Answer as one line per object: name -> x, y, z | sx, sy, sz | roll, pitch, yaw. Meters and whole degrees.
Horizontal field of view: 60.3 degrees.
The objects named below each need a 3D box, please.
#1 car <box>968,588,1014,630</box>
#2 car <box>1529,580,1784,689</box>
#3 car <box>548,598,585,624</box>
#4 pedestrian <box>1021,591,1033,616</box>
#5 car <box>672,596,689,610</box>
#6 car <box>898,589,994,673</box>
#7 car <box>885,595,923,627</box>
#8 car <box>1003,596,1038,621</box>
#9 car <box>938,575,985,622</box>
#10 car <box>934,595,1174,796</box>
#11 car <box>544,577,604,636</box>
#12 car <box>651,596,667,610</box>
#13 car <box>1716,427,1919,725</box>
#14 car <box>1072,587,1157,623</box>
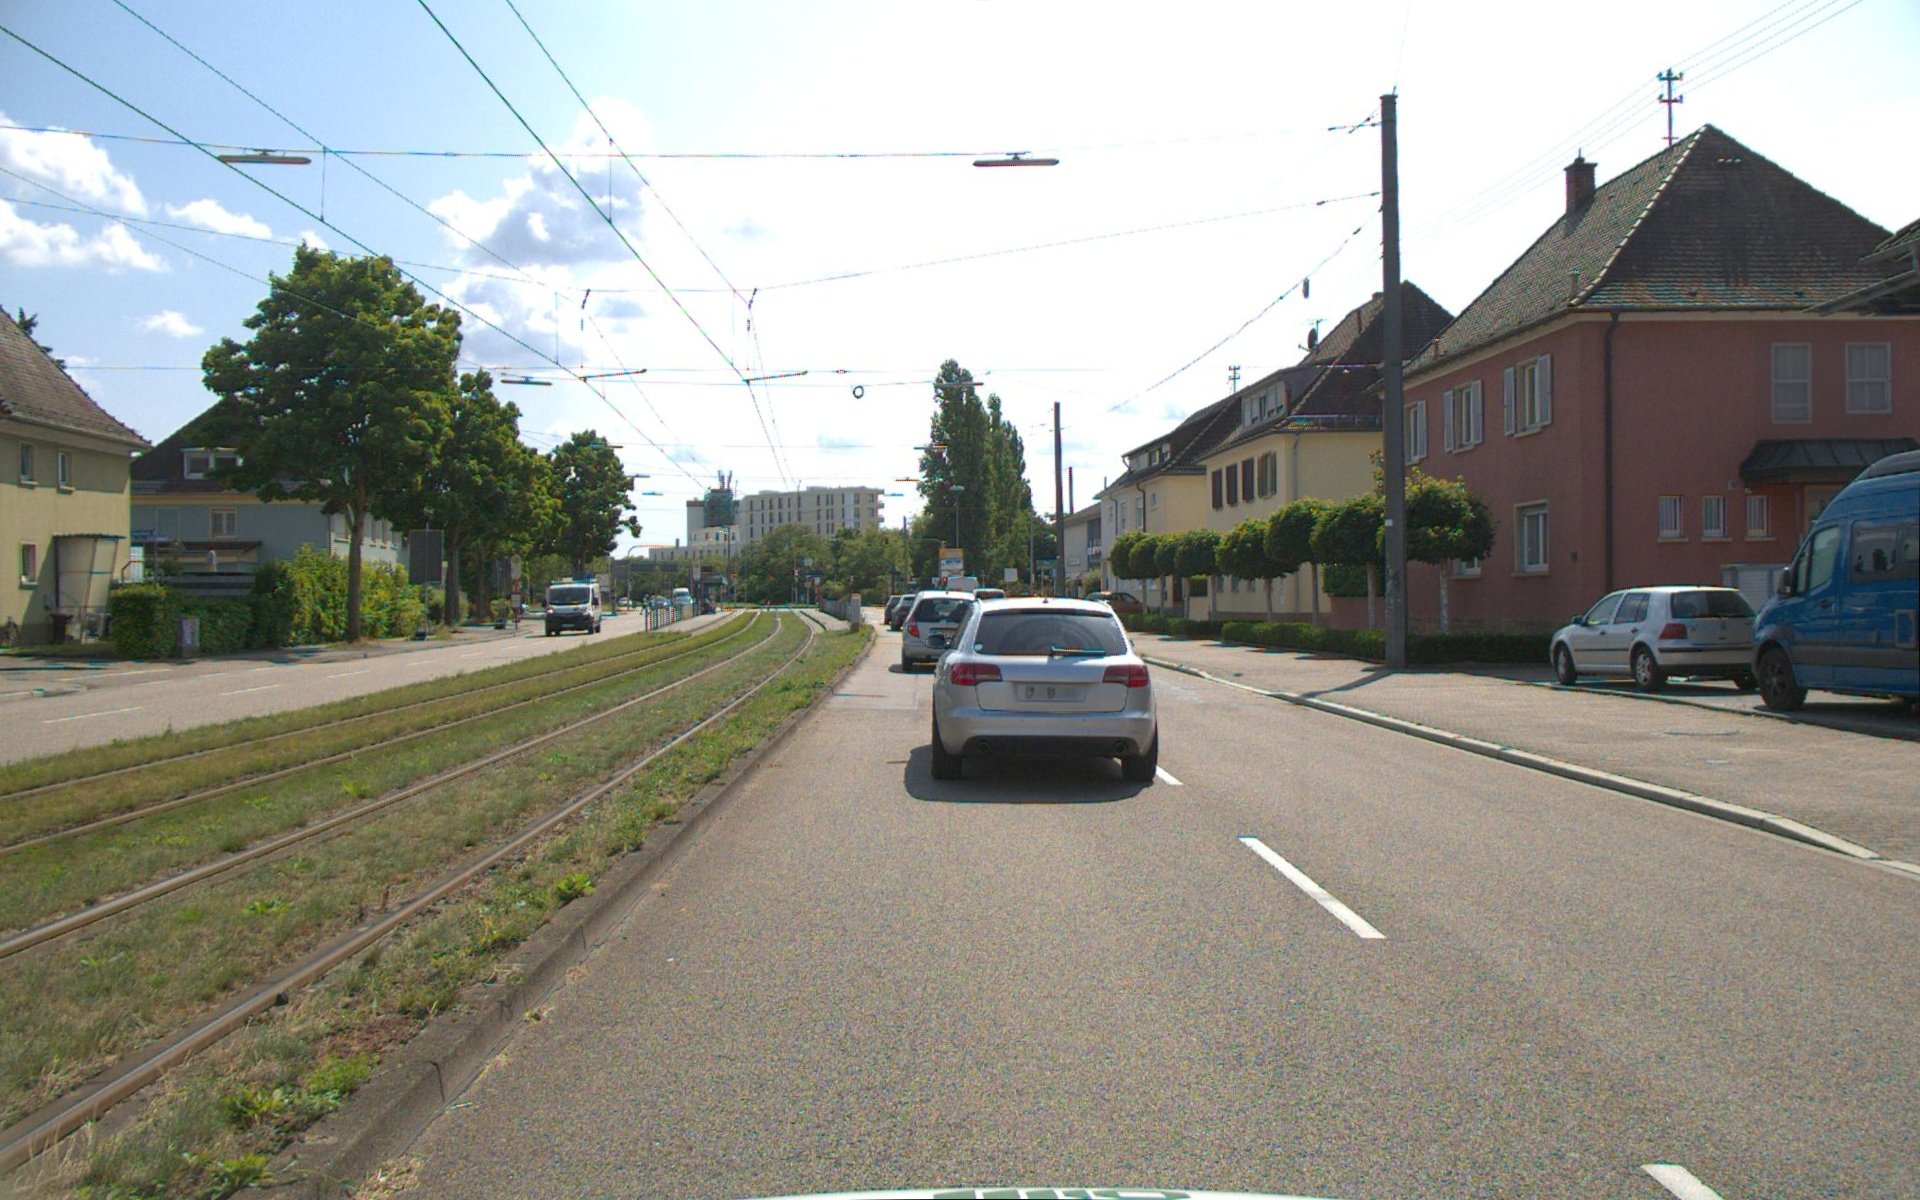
car -> 1.393, 0.358, 72.429 | 1.845, 1.761, 4.096 | -1, 0, 3
car -> 10.200, 0.481, 24.591 | 1.617, 1.434, 4.345 | -1, 0, -5
car -> -25.843, 0.702, 108.716 | 1.751, 1.612, 3.927 | -1, 0, -4
pedestrian -> 5.118, 0.266, 126.608 | 0.707, 1.813, 0.702 | -3, 0, -4
car -> -31.474, 0.315, 186.184 | 1.862, 1.568, 3.720 | 1, 0, -10
car -> -0.351, 0.592, 34.279 | 1.751, 1.604, 4.092 | 1, 0, -3
car -> -2.816, 0.540, 83.490 | 1.847, 1.557, 4.093 | 1, 0, -1
car -> 4.232, 0.601, 115.858 | 1.849, 1.665, 4.088 | 1, 0, -7
car -> 0.052, -0.099, 93.622 | 2.002, 2.602, 5.223 | -1, 0, -7
car -> 0.779, 0.712, 14.783 | 1.816, 1.518, 4.537 | 0, 0, 2
car -> -16.895, 0.284, 72.654 | 2.156, 2.413, 5.320 | -2, 0, -10
car -> -35.122, 0.338, 193.087 | 1.829, 1.680, 3.990 | 1, 0, -10
car -> 10.612, -0.225, 17.705 | 2.108, 2.981, 6.243 | 1, 0, -1
car -> 7.224, 0.195, 77.201 | 1.883, 1.483, 4.067 | 0, 2, 43
